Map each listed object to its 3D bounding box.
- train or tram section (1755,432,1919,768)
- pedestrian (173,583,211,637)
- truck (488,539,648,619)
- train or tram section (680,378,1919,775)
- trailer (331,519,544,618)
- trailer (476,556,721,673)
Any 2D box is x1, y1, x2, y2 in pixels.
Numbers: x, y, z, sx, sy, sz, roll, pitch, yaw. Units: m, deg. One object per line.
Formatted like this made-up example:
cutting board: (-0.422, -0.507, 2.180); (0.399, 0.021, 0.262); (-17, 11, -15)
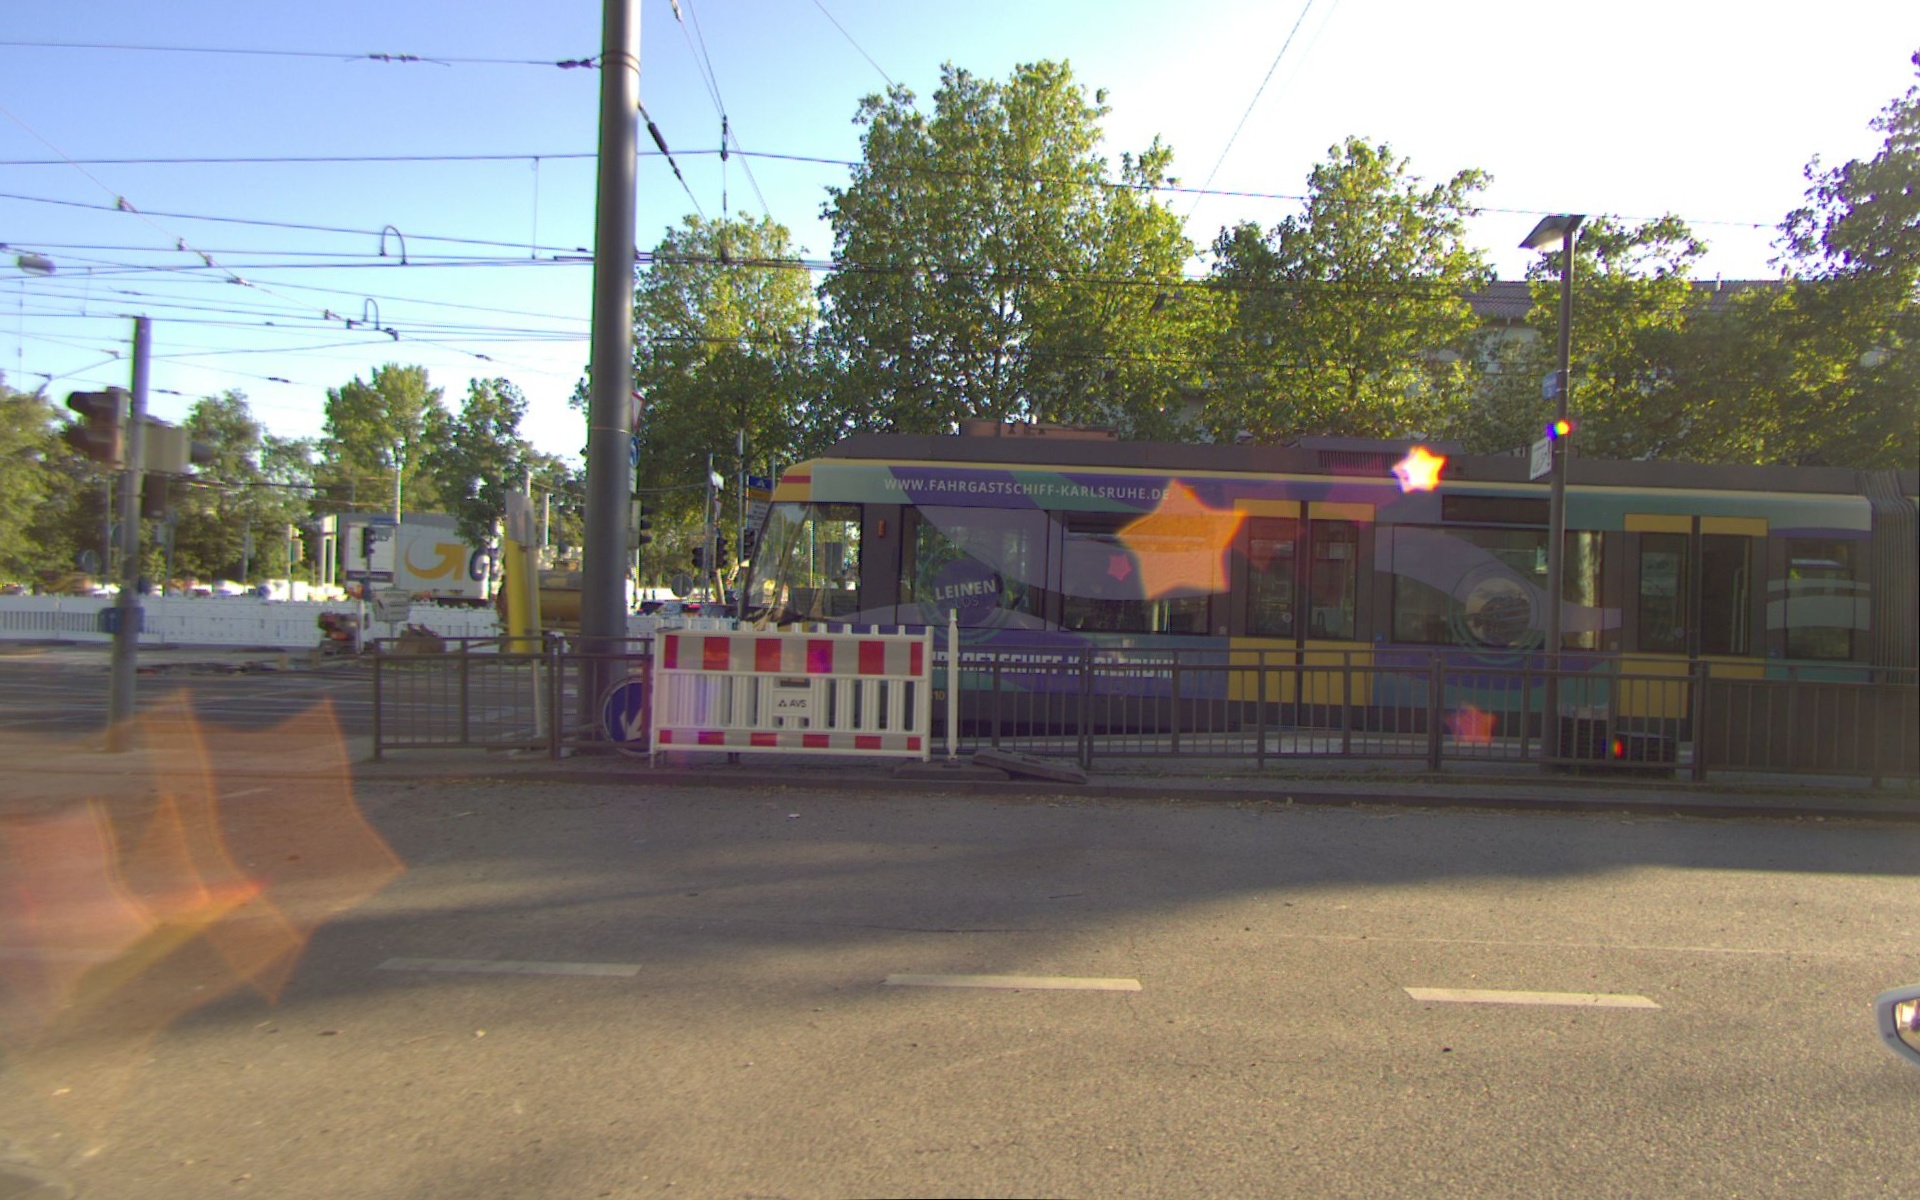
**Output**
train or tram section: (16.561, 0.236, 11.516); (12.531, 3.596, 2.738); (2, 0, 1)
pedestrian: (-22.635, 0.292, 29.615); (0.564, 1.535, 0.593); (5, 0, 21)
truck: (-20.664, -0.956, 53.926); (2.842, 3.840, 10.441); (2, 0, 11)
train or tram section: (3.783, -0.231, 11.649); (13.130, 3.580, 2.859); (2, 0, 1)
trailer: (-22.627, -1.188, 44.357); (2.837, 3.848, 9.252); (2, 0, 14)
trailer: (-7.217, 0.303, 20.480); (4.265, 2.143, 1.998); (2, 0, -6)
